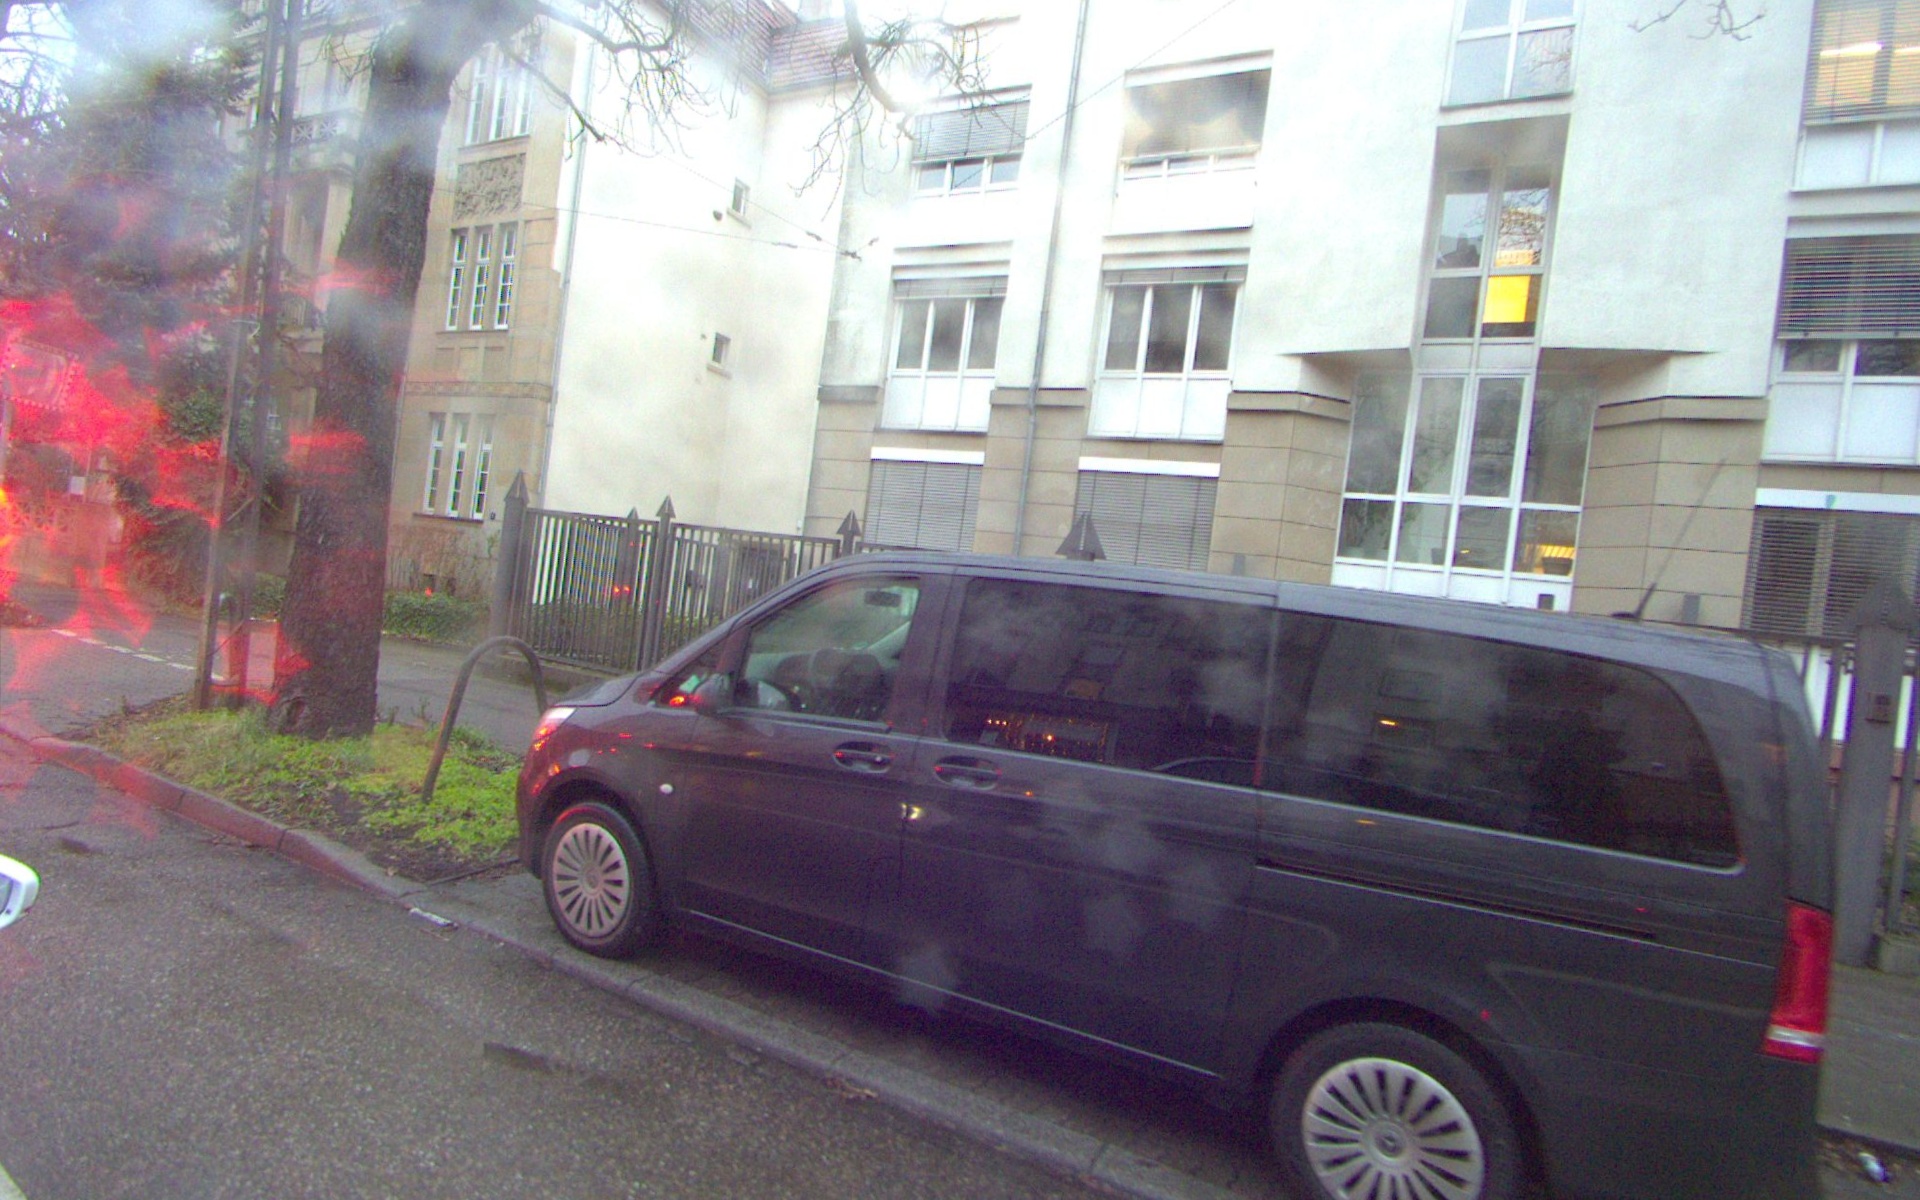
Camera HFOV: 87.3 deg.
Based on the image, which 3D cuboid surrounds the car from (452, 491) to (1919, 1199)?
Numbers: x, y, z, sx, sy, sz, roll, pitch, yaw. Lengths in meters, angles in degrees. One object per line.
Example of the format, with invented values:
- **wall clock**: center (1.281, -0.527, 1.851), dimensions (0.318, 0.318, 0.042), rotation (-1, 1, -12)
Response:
- **car**: center (0.450, 0.792, 4.215), dimensions (4.877, 1.899, 2.035), rotation (7, 0, 28)
